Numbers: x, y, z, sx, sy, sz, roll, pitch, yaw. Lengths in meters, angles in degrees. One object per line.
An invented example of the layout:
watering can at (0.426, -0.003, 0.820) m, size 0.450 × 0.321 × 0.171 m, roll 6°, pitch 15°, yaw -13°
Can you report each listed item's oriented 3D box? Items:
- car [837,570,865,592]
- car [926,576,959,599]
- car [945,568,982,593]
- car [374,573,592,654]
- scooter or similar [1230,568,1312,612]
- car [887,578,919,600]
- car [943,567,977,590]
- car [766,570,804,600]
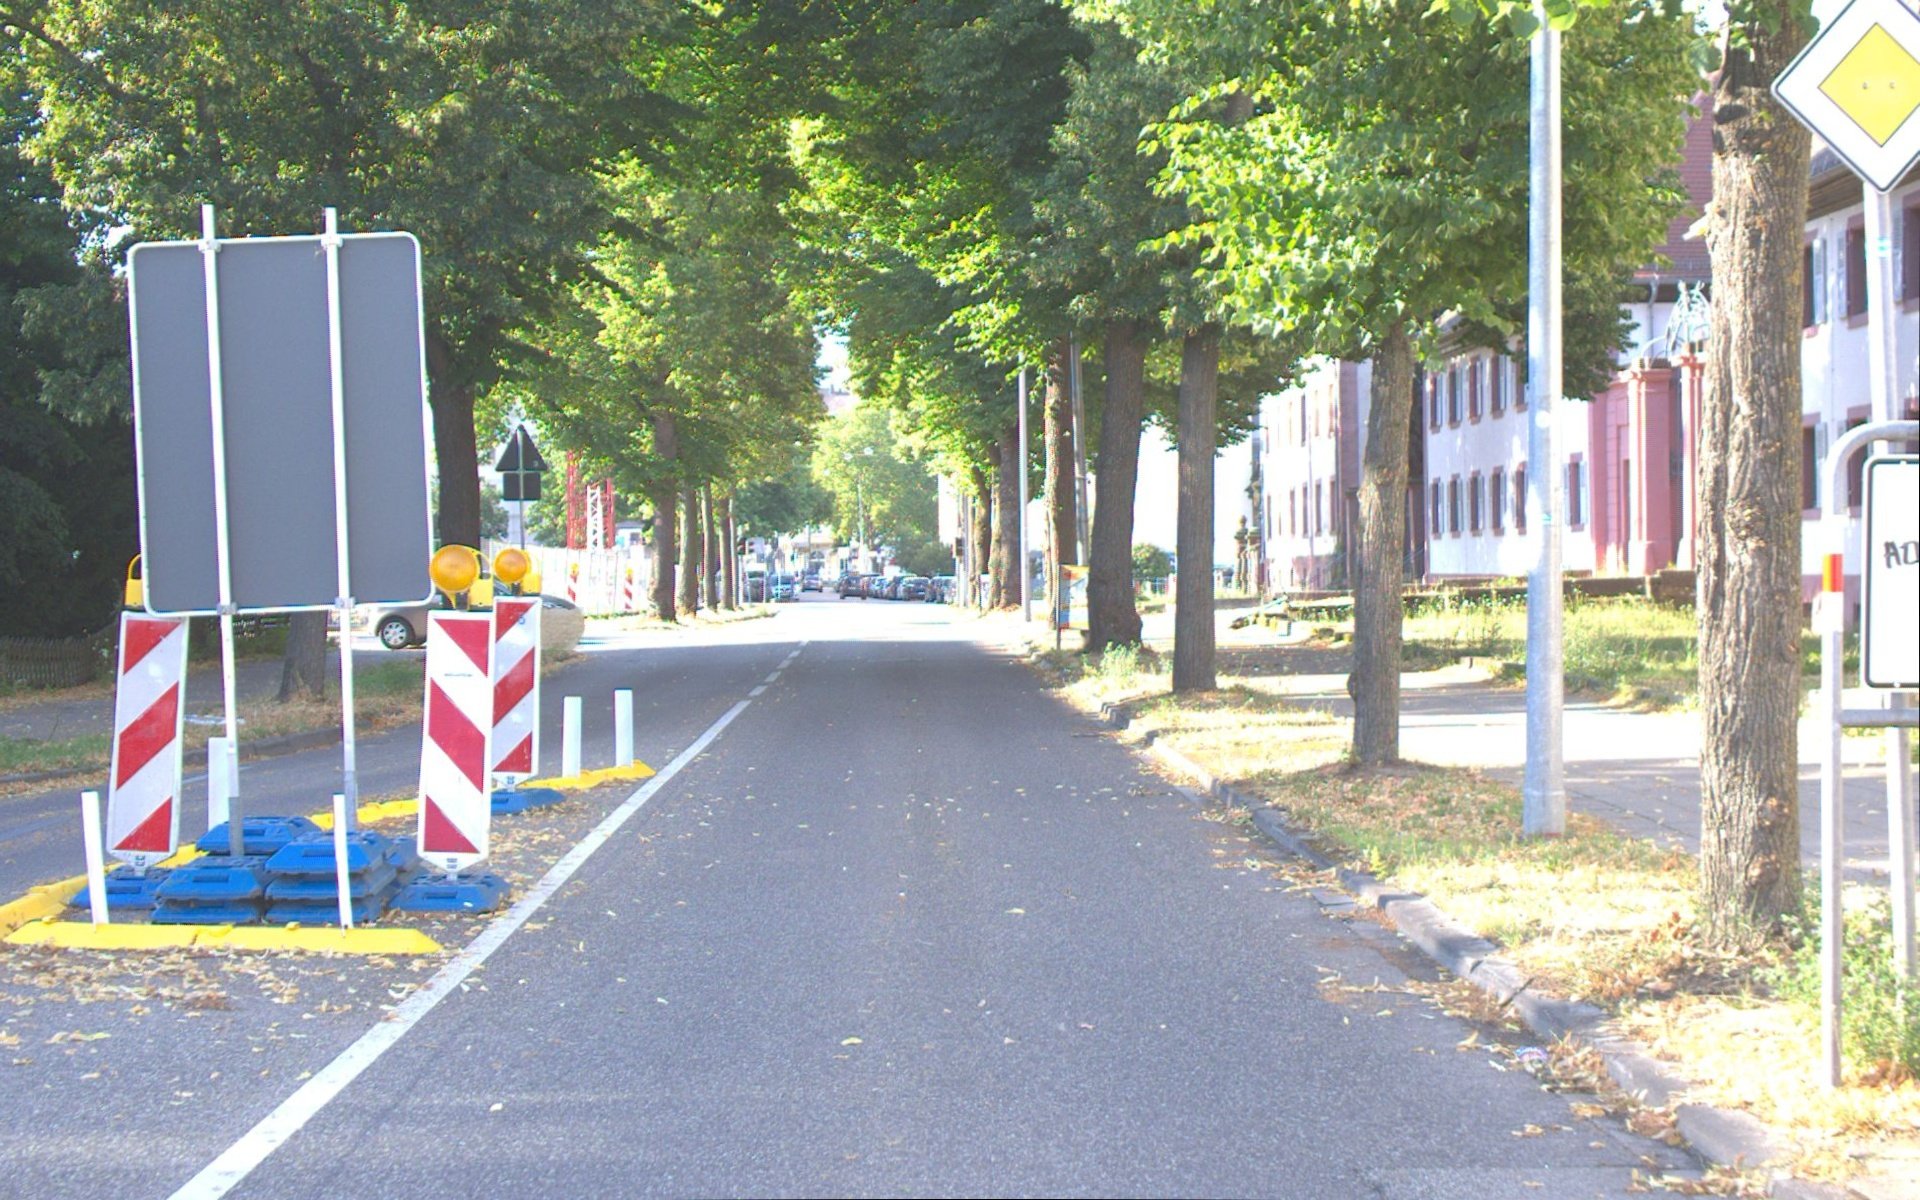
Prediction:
car at (-7.559, -1.310, 238.725) m, size 1.714 × 1.481 × 4.000 m, roll -2°, pitch 0°, yaw -5°
car at (-1.019, -0.708, 200.346) m, size 1.841 × 1.257 × 4.000 m, roll -1°, pitch 0°, yaw -1°
car at (0.161, -1.014, 182.911) m, size 1.841 × 1.257 × 4.000 m, roll -1°, pitch 0°, yaw -1°
car at (-8.985, 0.250, 64.894) m, size 3.844 × 1.468 × 1.651 m, roll -1°, pitch 1°, yaw 1°
scooter or similar at (5.333, -0.175, 59.013) m, size 1.225 × 0.547 × 1.064 m, roll -9°, pitch 1°, yaw -1°
car at (-3.810, -0.745, 229.363) m, size 1.841 × 1.381 × 4.001 m, roll -2°, pitch 0°, yaw -4°
car at (0.011, -1.202, 193.647) m, size 1.841 × 1.257 × 4.000 m, roll 0°, pitch 0°, yaw 1°
car at (-10.470, -0.887, 205.257) m, size 1.993 × 1.682 × 4.001 m, roll -1°, pitch 0°, yaw -7°
